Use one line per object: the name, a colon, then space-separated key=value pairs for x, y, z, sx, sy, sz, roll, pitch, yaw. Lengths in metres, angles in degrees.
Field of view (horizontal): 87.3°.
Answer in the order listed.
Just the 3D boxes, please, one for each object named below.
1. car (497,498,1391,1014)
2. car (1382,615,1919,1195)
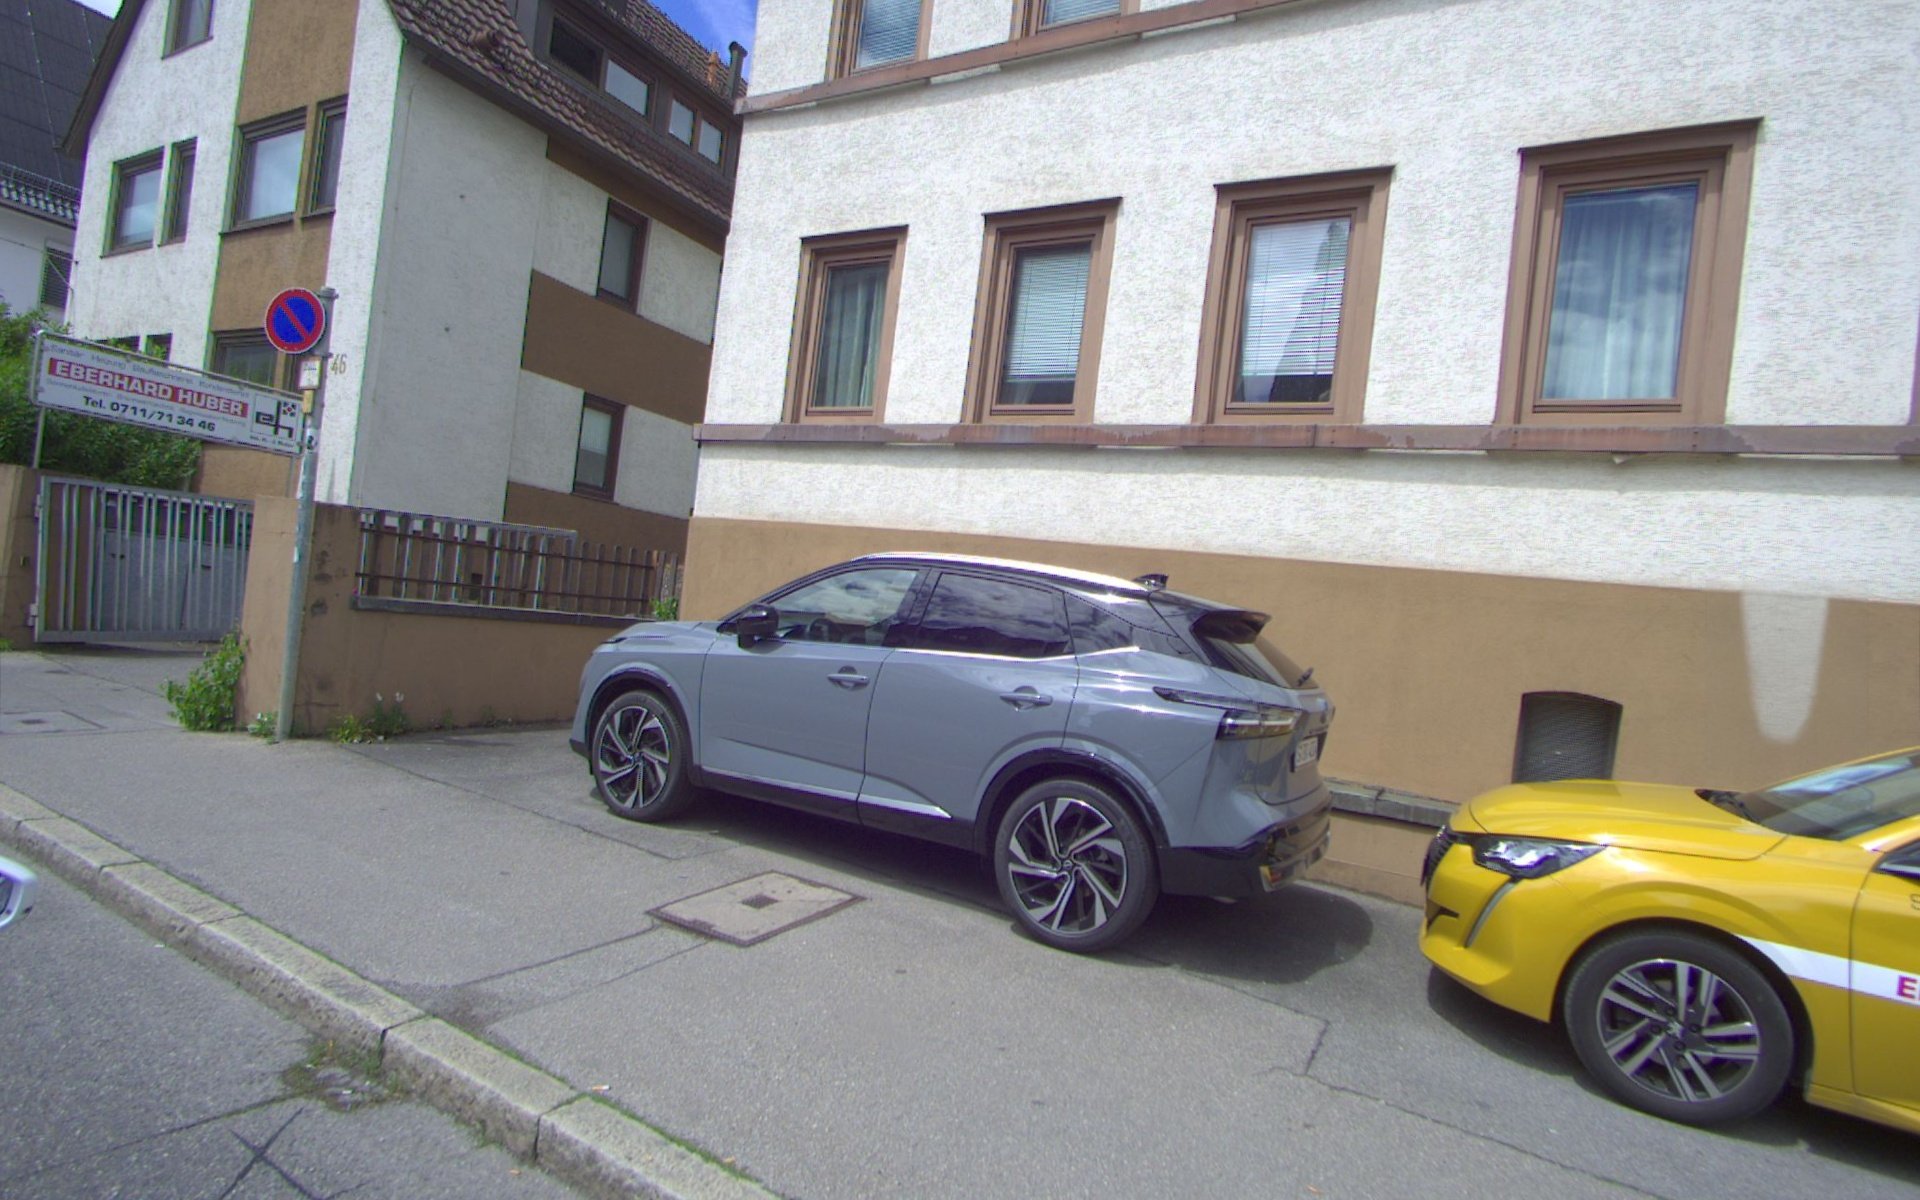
car: x=-0.239 y=0.511 z=5.571 sx=4.508 sy=1.632 sz=1.863 roll=7 pitch=0 yaw=30
car: x=3.886 y=1.153 z=3.381 sx=4.232 sy=1.465 sz=1.881 roll=9 pitch=1 yaw=29
